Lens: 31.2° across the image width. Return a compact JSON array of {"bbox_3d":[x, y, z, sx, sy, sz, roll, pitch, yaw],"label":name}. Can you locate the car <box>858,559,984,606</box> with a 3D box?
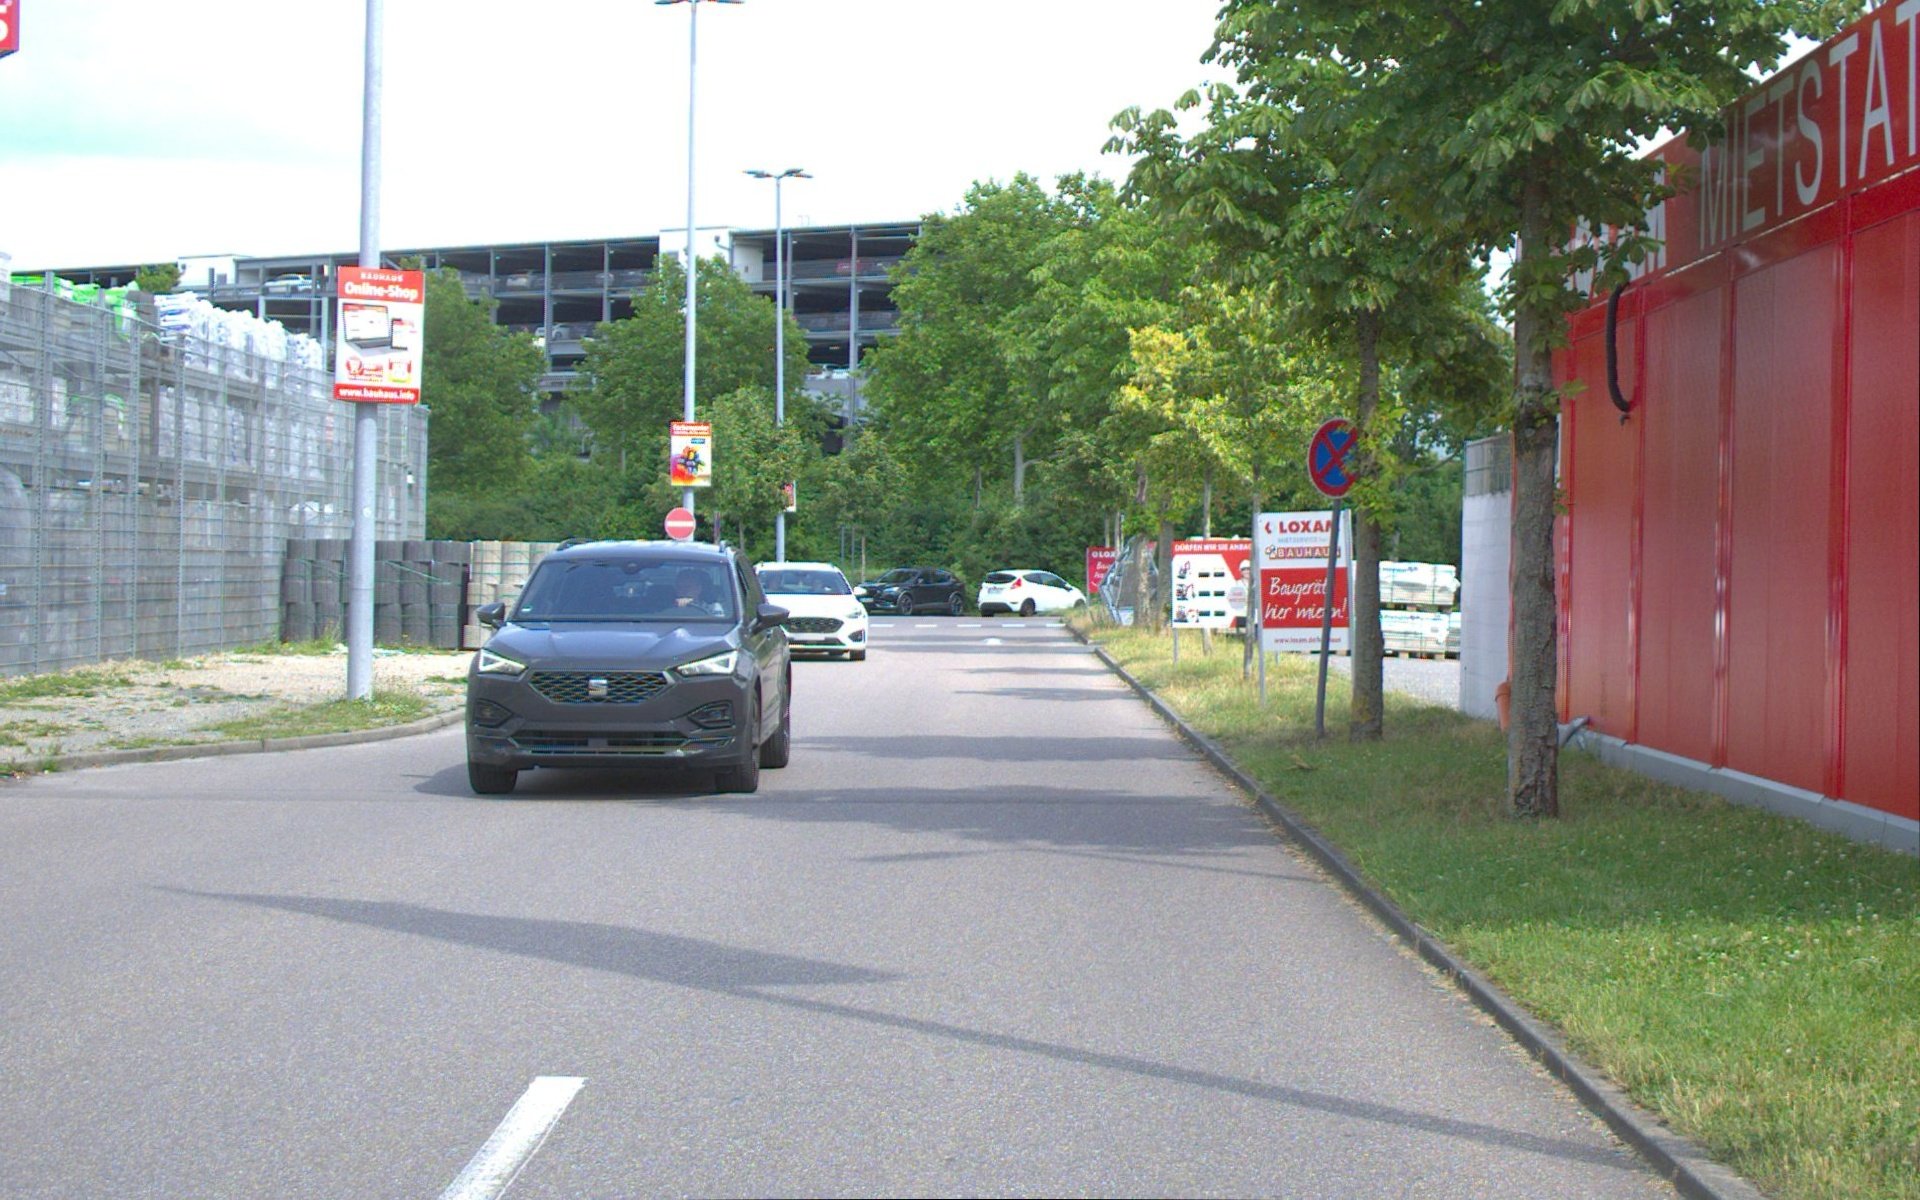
[{"bbox_3d":[-1.178,-0.536,106.265,1.731,1.405,4.234,1,1,35],"label":"car"}]

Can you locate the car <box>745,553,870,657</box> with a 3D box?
[{"bbox_3d":[-2.288,0.048,52.267,1.803,1.459,4.329,1,1,-2],"label":"car"}]

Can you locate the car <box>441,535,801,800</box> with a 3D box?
[{"bbox_3d":[-2.207,0.379,23.520,1.915,1.612,4.374,0,1,2],"label":"car"}]

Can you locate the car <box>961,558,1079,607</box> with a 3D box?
[{"bbox_3d":[1.823,-0.530,103.272,1.669,1.407,3.549,1,1,40],"label":"car"}]
